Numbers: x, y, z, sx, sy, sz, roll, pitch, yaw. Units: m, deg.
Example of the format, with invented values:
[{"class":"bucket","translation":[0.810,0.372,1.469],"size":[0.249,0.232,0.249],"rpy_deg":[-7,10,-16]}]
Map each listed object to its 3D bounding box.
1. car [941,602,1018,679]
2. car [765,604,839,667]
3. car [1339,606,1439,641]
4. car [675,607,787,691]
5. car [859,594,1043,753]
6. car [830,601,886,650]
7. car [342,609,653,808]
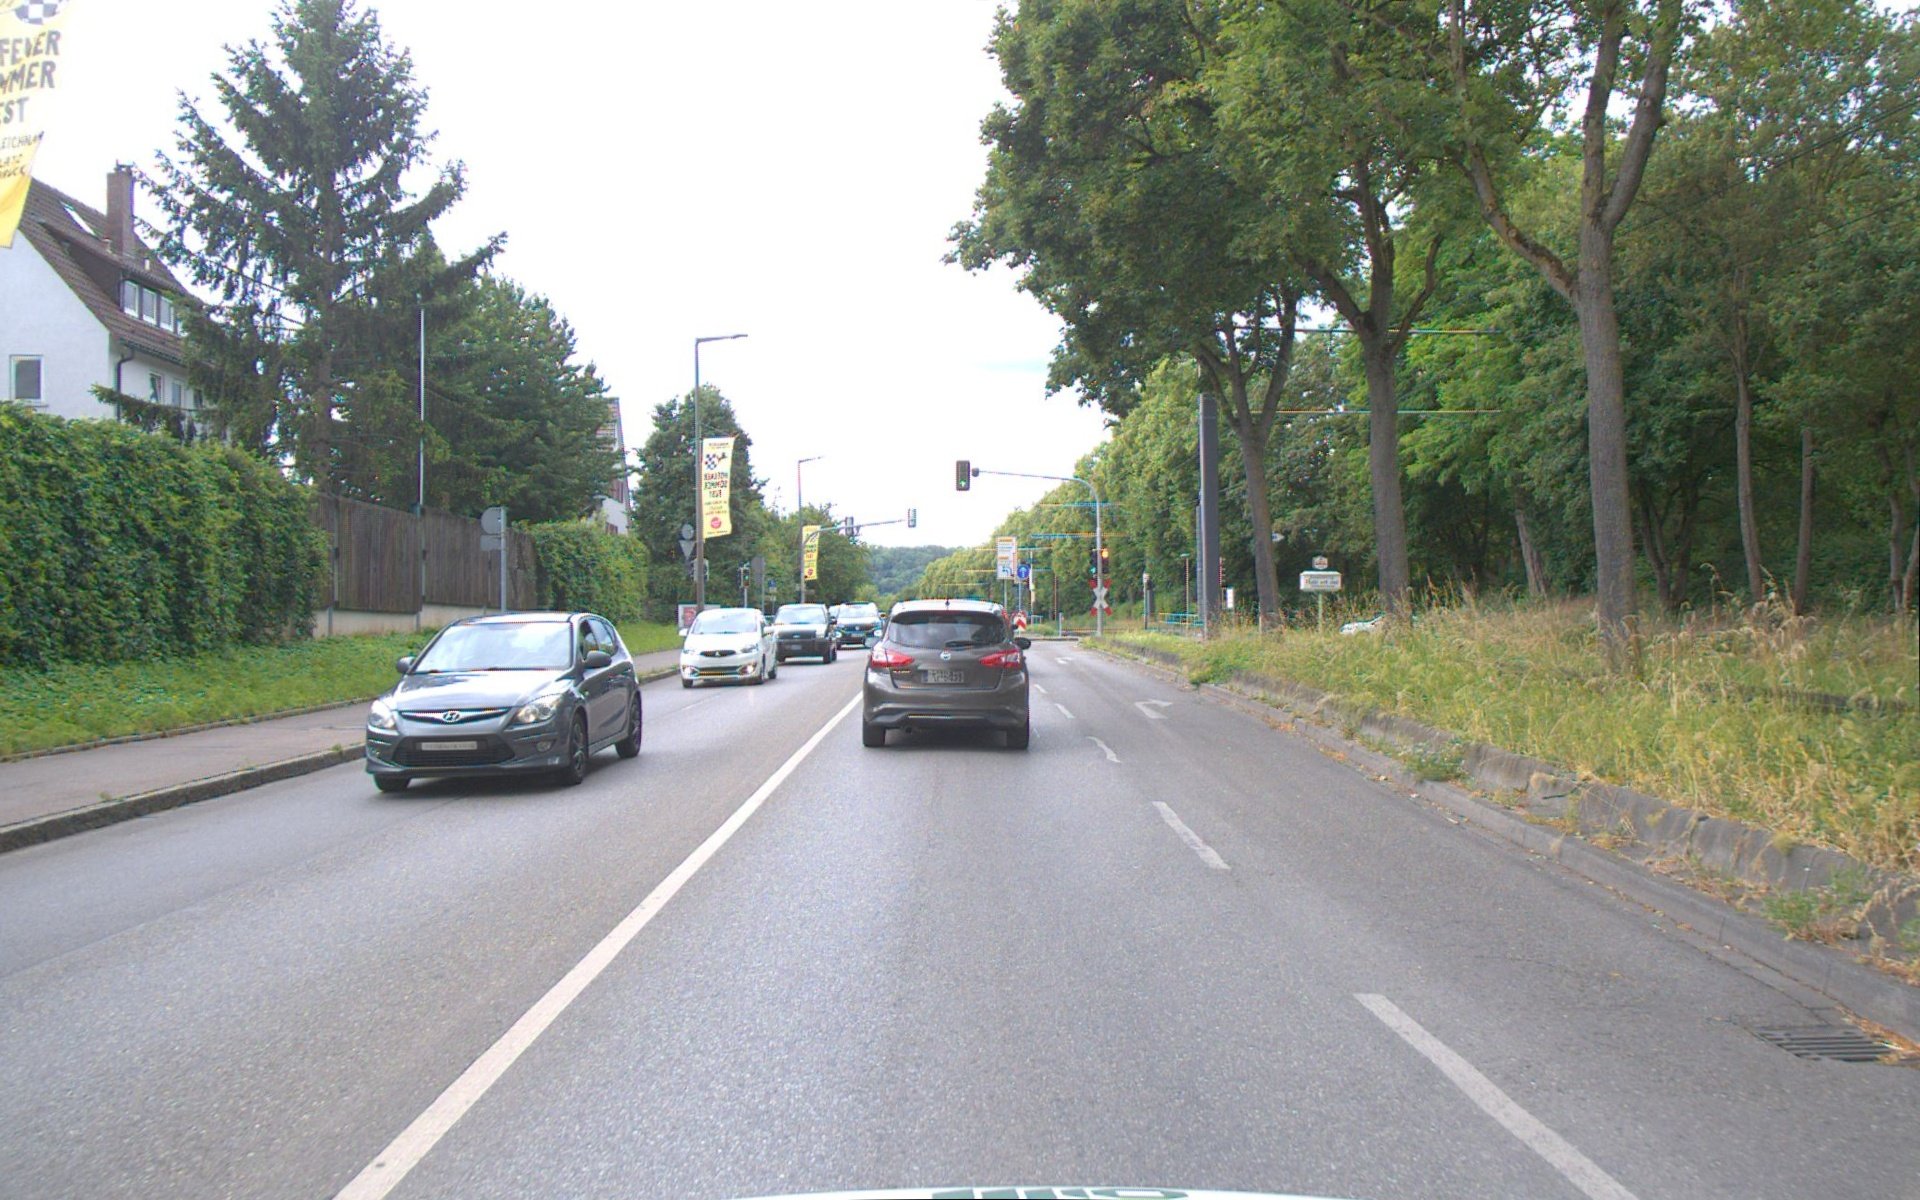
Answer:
[{"class":"car","translation":[0.399,0.811,34.932],"size":[1.507,1.504,3.764],"rpy_deg":[-1,0,0]},{"class":"car","translation":[-4.109,0.895,43.552],"size":[1.610,1.507,4.106],"rpy_deg":[-2,0,-2]},{"class":"car","translation":[19.538,1.057,75.463],"size":[3.910,1.377,1.998],"rpy_deg":[3,-1,-6]},{"class":"car","translation":[-4.573,0.936,33.557],"size":[1.585,1.487,4.072],"rpy_deg":[-4,0,0]},{"class":"car","translation":[-0.084,0.726,18.637],"size":[1.797,1.545,4.482],"rpy_deg":[1,0,0]},{"class":"car","translation":[-3.525,0.862,57.729],"size":[1.776,1.550,4.175],"rpy_deg":[-2,0,-2]},{"class":"car","translation":[-4.081,0.878,15.298],"size":[1.693,1.490,4.153],"rpy_deg":[-2,0,-1]}]
